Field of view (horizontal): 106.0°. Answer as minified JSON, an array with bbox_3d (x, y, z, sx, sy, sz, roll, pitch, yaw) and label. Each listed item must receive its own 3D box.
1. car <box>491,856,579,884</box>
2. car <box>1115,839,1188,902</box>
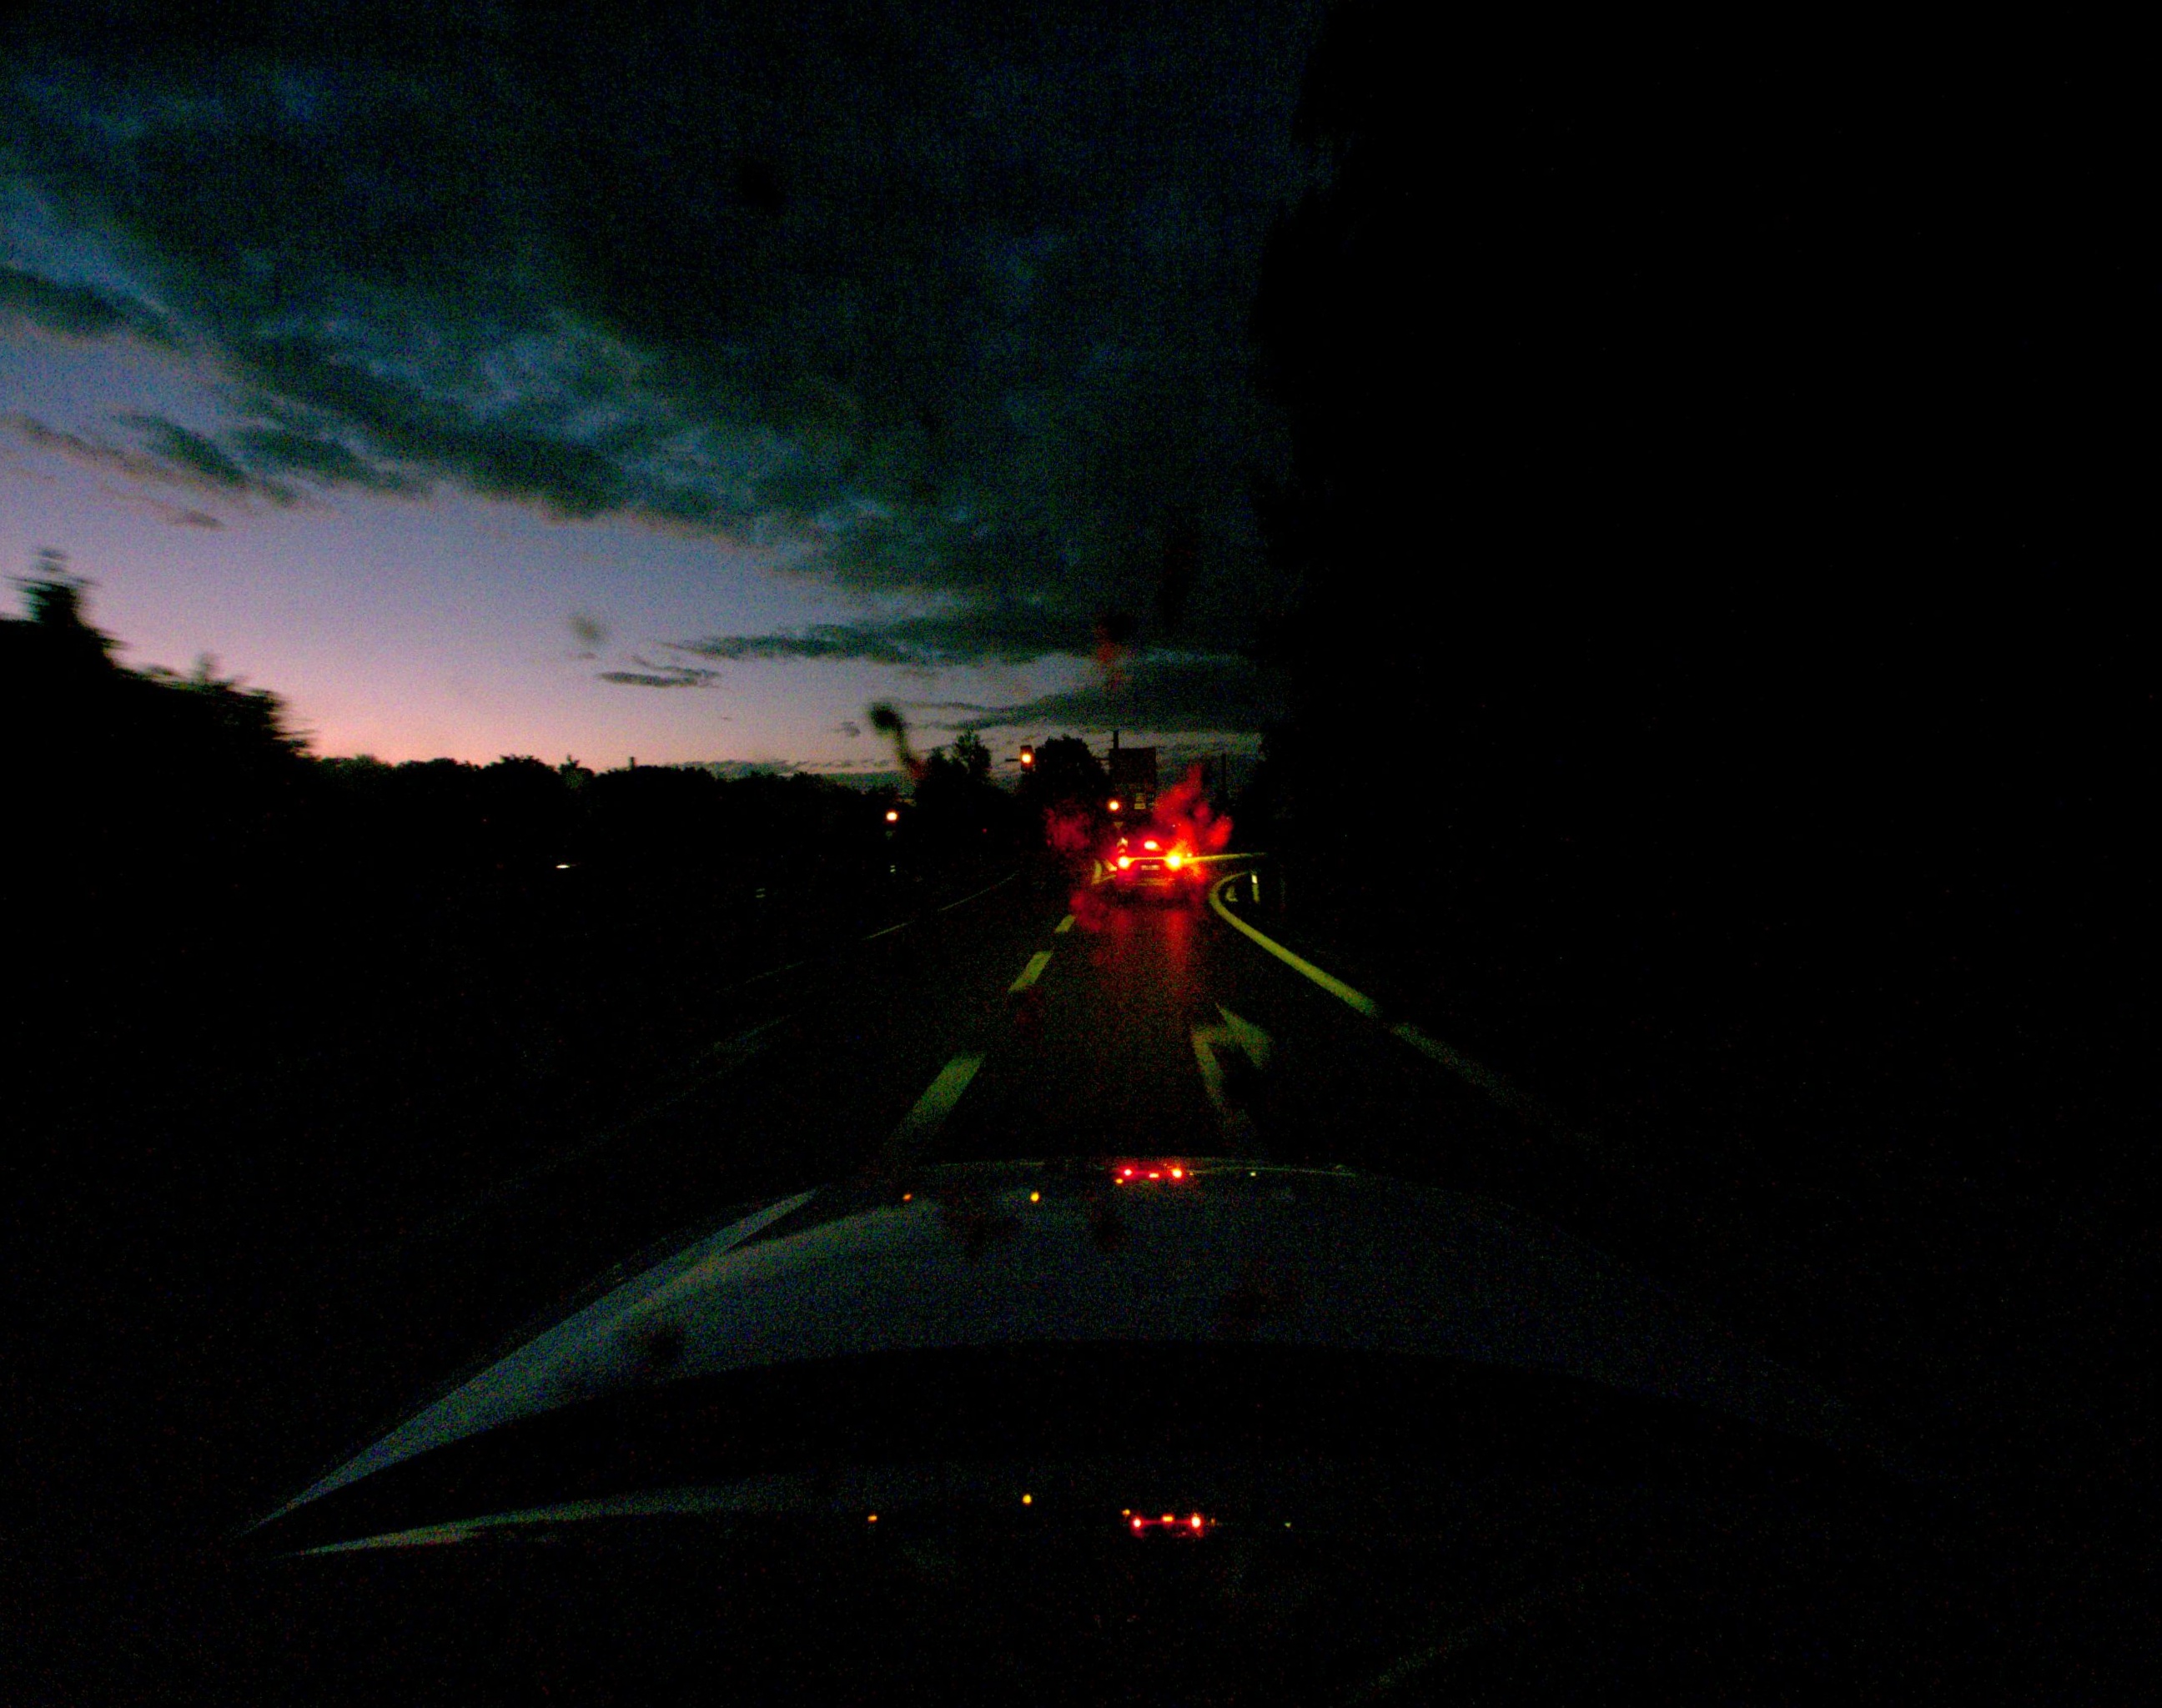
[{"bbox_3d":[-33.564,0.963,50.183,3.991,1.453,1.991,-3,0,-13],"label":"car"},{"bbox_3d":[1.967,0.402,23.497,1.893,1.619,4.560,0,1,3],"label":"car"}]
